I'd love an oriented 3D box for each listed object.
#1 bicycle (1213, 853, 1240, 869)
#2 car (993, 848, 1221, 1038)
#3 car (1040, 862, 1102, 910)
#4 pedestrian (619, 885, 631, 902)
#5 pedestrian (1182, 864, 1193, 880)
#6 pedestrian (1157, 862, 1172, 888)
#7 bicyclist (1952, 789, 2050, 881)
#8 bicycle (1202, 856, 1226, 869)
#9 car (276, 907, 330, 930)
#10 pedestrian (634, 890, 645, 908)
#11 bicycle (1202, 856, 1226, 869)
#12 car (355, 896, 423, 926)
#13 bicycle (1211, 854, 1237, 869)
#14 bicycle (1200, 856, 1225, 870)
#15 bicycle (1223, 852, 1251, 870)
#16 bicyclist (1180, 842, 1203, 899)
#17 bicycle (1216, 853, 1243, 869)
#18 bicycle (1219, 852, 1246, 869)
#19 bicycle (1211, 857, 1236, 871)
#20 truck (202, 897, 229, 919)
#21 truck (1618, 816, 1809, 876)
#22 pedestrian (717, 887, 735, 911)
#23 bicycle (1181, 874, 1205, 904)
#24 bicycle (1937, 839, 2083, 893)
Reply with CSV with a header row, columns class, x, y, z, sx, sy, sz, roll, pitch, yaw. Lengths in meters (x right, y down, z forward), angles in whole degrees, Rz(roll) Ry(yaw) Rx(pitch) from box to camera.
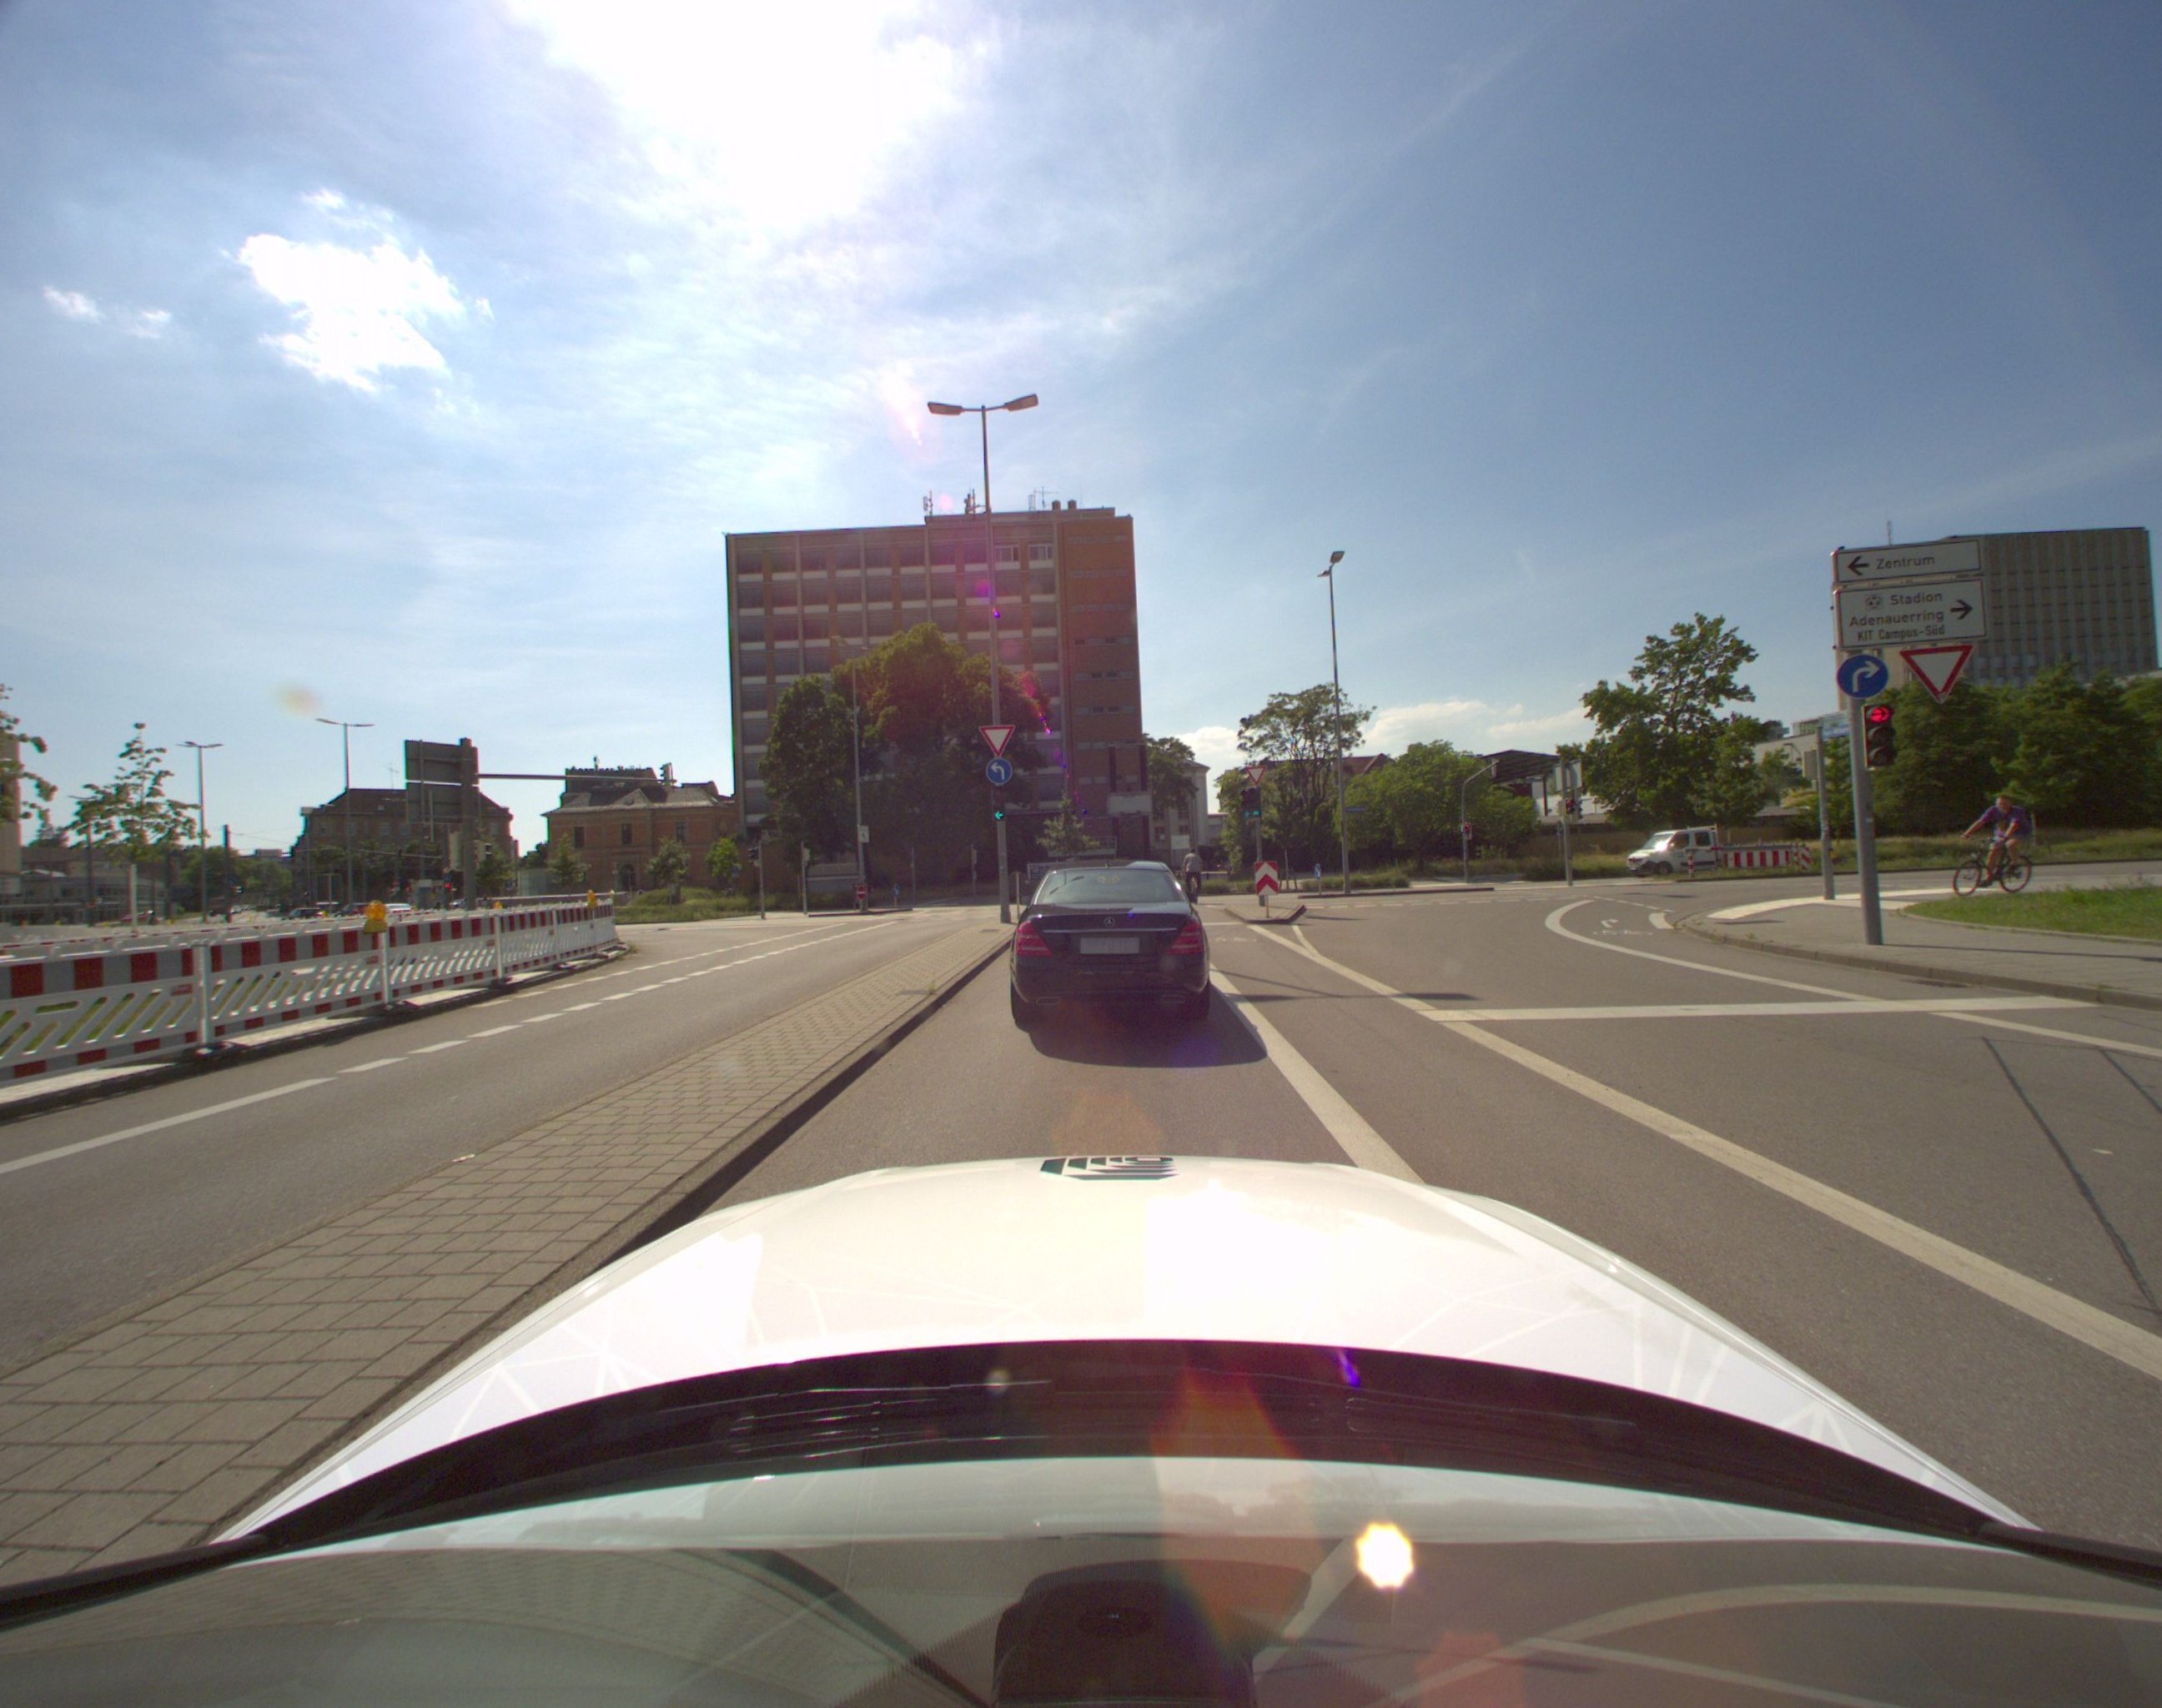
class,x,y,z,sx,sy,sz,roll,pitch,yaw
bicycle,16.741,0.838,93.814,2.813,1.659,0.842,-3,0,1
car,0.259,0.764,9.028,1.852,1.530,4.714,-1,-1,1
car,-0.415,1.153,29.088,1.792,1.510,3.990,-2,-2,-6
pedestrian,-44.359,3.820,79.202,0.644,1.661,0.652,-3,-2,9
pedestrian,8.023,1.366,61.565,0.788,1.214,0.759,-1,-1,8
pedestrian,5.259,1.338,51.290,0.807,1.579,0.693,-3,-1,3
bicyclist,17.109,-0.332,15.176,0.485,1.637,1.084,-3,-1,-1
bicycle,16.622,1.085,102.085,2.813,1.500,0.842,-3,-1,1
car,-55.616,4.601,58.199,3.948,1.510,1.811,-4,-2,32
pedestrian,-39.786,4.050,73.370,0.642,1.661,0.654,-1,-1,28
bicycle,16.854,1.029,103.445,2.812,1.480,0.842,-3,-1,2
car,-47.903,3.950,56.375,3.951,1.816,2.011,-3,-2,24
bicycle,16.660,0.898,94.974,2.813,1.587,0.842,-3,-1,1
bicycle,16.103,1.115,99.904,2.813,1.559,0.842,-3,-1,1
bicycle,17.042,0.729,89.059,2.813,1.836,0.842,-3,-1,1
bicyclist,3.731,0.567,27.550,0.683,1.879,0.860,-1,-1,4
bicycle,16.848,0.787,92.405,2.813,1.649,0.842,-3,-1,1
bicycle,16.983,0.769,91.321,2.813,1.744,0.842,-3,-1,1
bicycle,16.780,1.198,95.870,2.813,1.537,0.842,-3,-1,1
truck,-159.591,9.949,150.189,7.827,3.730,3.093,-4,-2,41
truck,29.845,-0.336,38.635,6.997,2.356,2.414,-3,-2,2
pedestrian,-26.085,3.282,59.800,0.790,1.725,0.878,-3,-2,24
bicycle,3.734,1.156,27.269,0.689,0.946,1.960,0,-1,4
bicycle,17.252,0.221,15.151,1.921,0.887,0.685,-3,-1,-1
